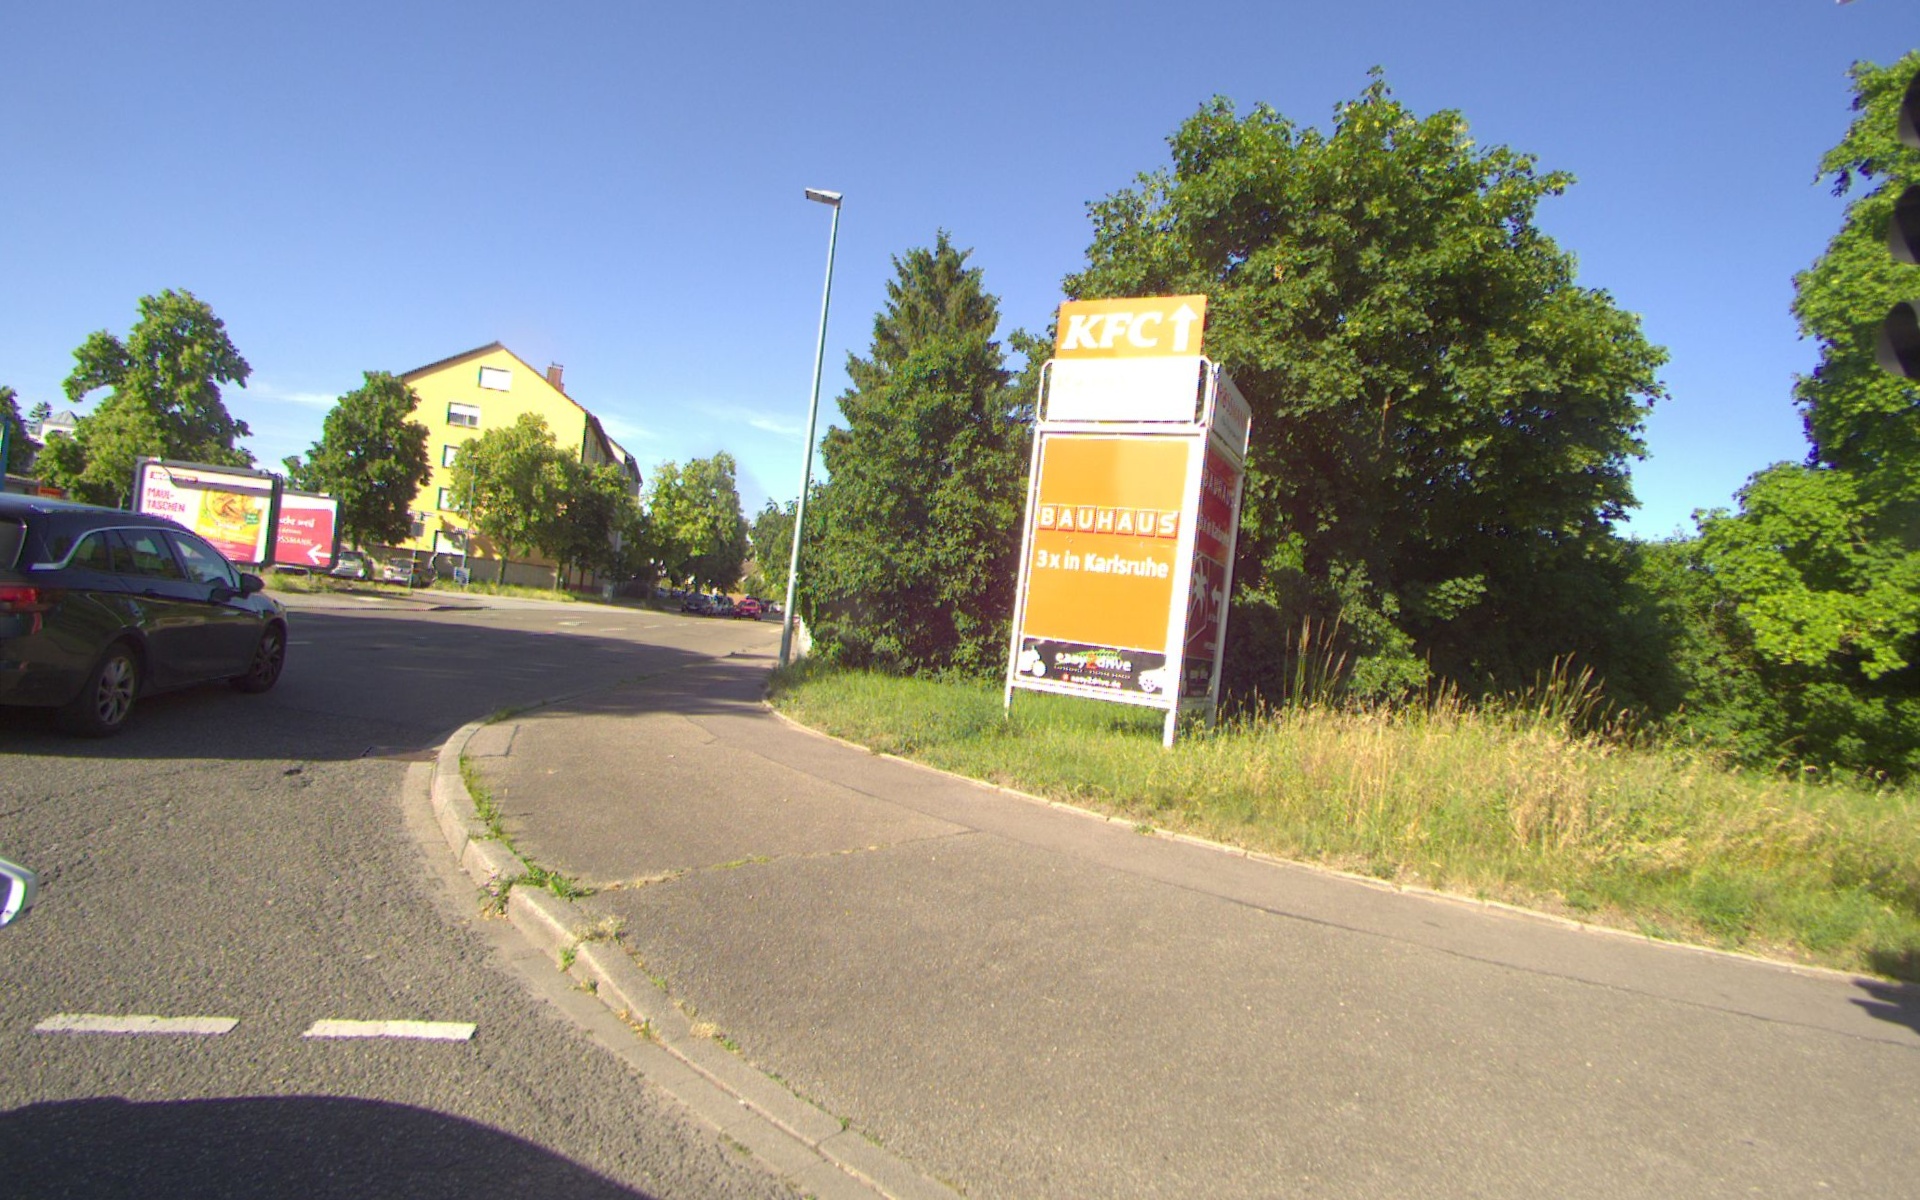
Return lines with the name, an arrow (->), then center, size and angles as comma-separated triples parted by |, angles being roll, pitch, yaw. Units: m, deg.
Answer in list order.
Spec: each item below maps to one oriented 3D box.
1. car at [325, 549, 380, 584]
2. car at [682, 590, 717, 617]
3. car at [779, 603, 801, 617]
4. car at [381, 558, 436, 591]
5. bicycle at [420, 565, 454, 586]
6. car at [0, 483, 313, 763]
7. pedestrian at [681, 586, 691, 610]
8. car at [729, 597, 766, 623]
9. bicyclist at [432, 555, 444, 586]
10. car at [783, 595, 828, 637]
car -> -32.500, -1.806, 53.913 | 1.679, 1.642, 3.863 | 7, 0, -20
car -> -17.940, 0.299, 69.398 | 1.677, 1.496, 4.051 | 8, -3, -8
car -> -21.270, 1.245, 125.642 | 1.801, 1.552, 4.240 | 6, -2, -21
car -> -29.457, -1.366, 53.832 | 1.708, 1.482, 3.867 | 6, 0, -18
bicycle -> -30.087, -1.397, 57.879 | 1.609, 1.022, 0.402 | 8, -3, -37
car -> -6.531, 0.025, 7.330 | 1.741, 1.508, 4.278 | 8, -2, -16
pedestrian -> -20.980, -0.173, 77.030 | 0.497, 1.781, 0.695 | 6, -2, -8
car -> -15.504, 0.678, 73.608 | 1.983, 1.587, 4.388 | 8, -1, -6
bicyclist -> -30.053, -1.704, 57.891 | 0.386, 1.705, 0.378 | 7, -2, -37
car -> -8.183, 0.873, 53.597 | 1.810, 1.930, 4.696 | 7, -1, -4
